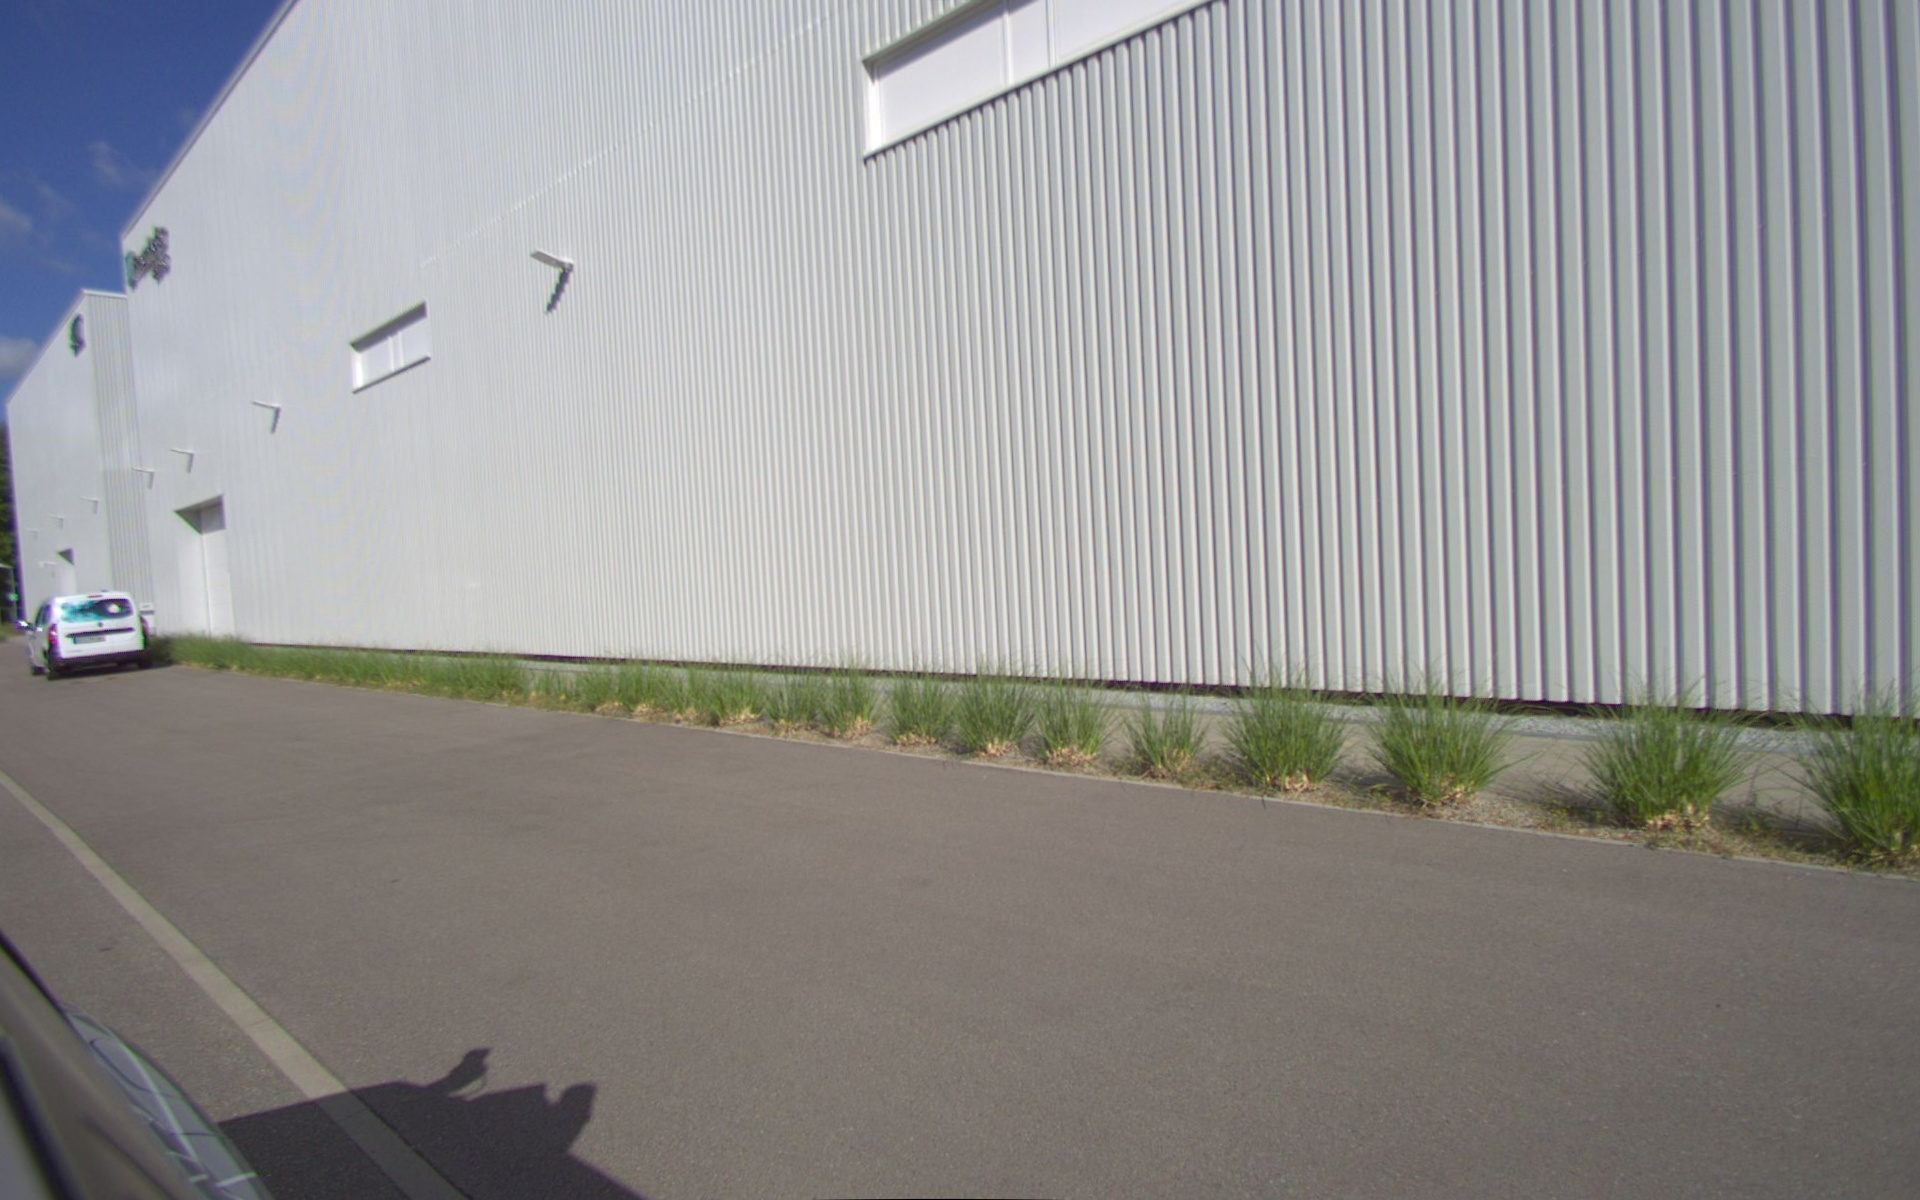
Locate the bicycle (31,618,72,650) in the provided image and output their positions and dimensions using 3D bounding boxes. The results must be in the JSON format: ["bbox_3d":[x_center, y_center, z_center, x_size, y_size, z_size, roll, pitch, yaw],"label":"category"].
[{"bbox_3d":[-38.360,1.409,42.748,0.895,1.151,1.905,-8,5,-33],"label":"bicycle"}]

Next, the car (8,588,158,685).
[{"bbox_3d":[-20.051,0.784,23.091,4.356,1.859,1.872,-1,4,41],"label":"car"}]
